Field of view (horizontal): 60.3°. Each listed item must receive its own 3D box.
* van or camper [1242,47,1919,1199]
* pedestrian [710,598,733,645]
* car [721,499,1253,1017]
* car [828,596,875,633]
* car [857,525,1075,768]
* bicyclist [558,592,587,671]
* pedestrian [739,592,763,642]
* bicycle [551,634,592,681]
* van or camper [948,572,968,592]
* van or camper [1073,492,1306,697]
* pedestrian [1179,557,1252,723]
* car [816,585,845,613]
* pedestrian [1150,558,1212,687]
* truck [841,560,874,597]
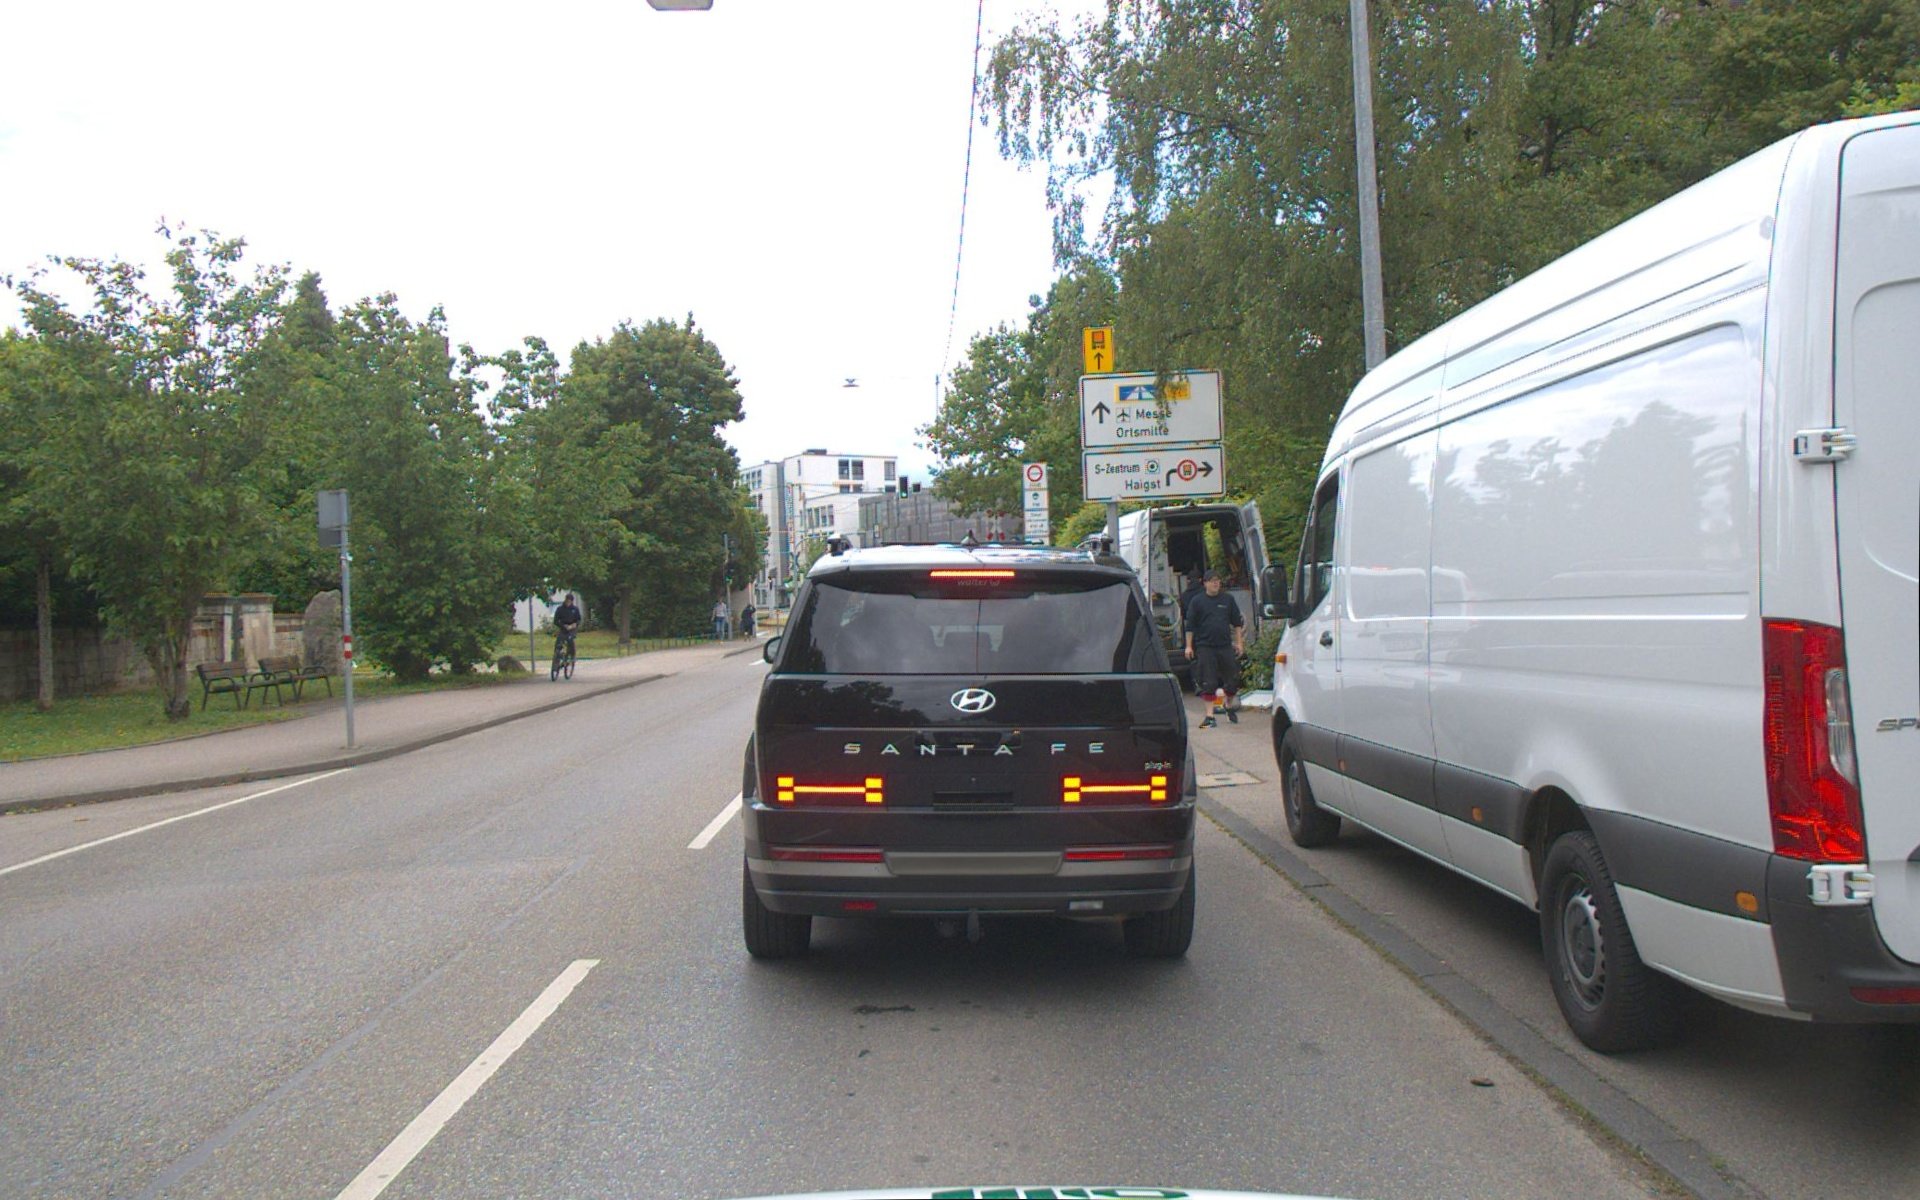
[{"bbox_3d":[2.878,0.034,7.037,1.951,2.670,6.543,-5,0,-1],"label":"van or camper"},{"bbox_3d":[-9.122,0.807,63.230,0.751,1.779,0.904,0,0,-2],"label":"pedestrian"},{"bbox_3d":[0.071,0.571,7.866,1.858,1.807,3.993,1,0,-1],"label":"car"},{"bbox_3d":[-4.611,0.600,70.844,1.721,1.427,4.413,-4,0,-1],"label":"car"},{"bbox_3d":[0.026,0.414,16.331,1.858,2.077,3.993,1,0,-1],"label":"car"},{"bbox_3d":[-8.476,0.682,36.162,0.477,1.713,0.588,1,-1,-1],"label":"bicyclist"},{"bbox_3d":[-8.676,0.690,68.619,0.812,2.049,1.047,1,-1,1],"label":"pedestrian"},{"bbox_3d":[-8.488,1.245,36.204,0.485,0.981,1.748,1,0,-1],"label":"bicycle"},{"bbox_3d":[-0.221,-1.884,172.505,1.760,2.033,3.820,1,0,-4],"label":"van or camper"},{"bbox_3d":[3.286,-0.023,25.319,2.294,2.537,6.600,-5,-1,-2],"label":"van or camper"},{"bbox_3d":[2.788,0.423,17.998,0.734,1.751,0.792,1,-1,11],"label":"pedestrian"},{"bbox_3d":[-11.313,-0.068,144.007,2.288,2.356,4.950,-2,0,-7],"label":"car"},{"bbox_3d":[2.978,0.307,22.334,0.721,1.672,0.802,-3,-1,5],"label":"pedestrian"},{"bbox_3d":[-11.655,-2.342,187.242,3.048,3.926,9.607,-2,0,-7],"label":"truck"}]
